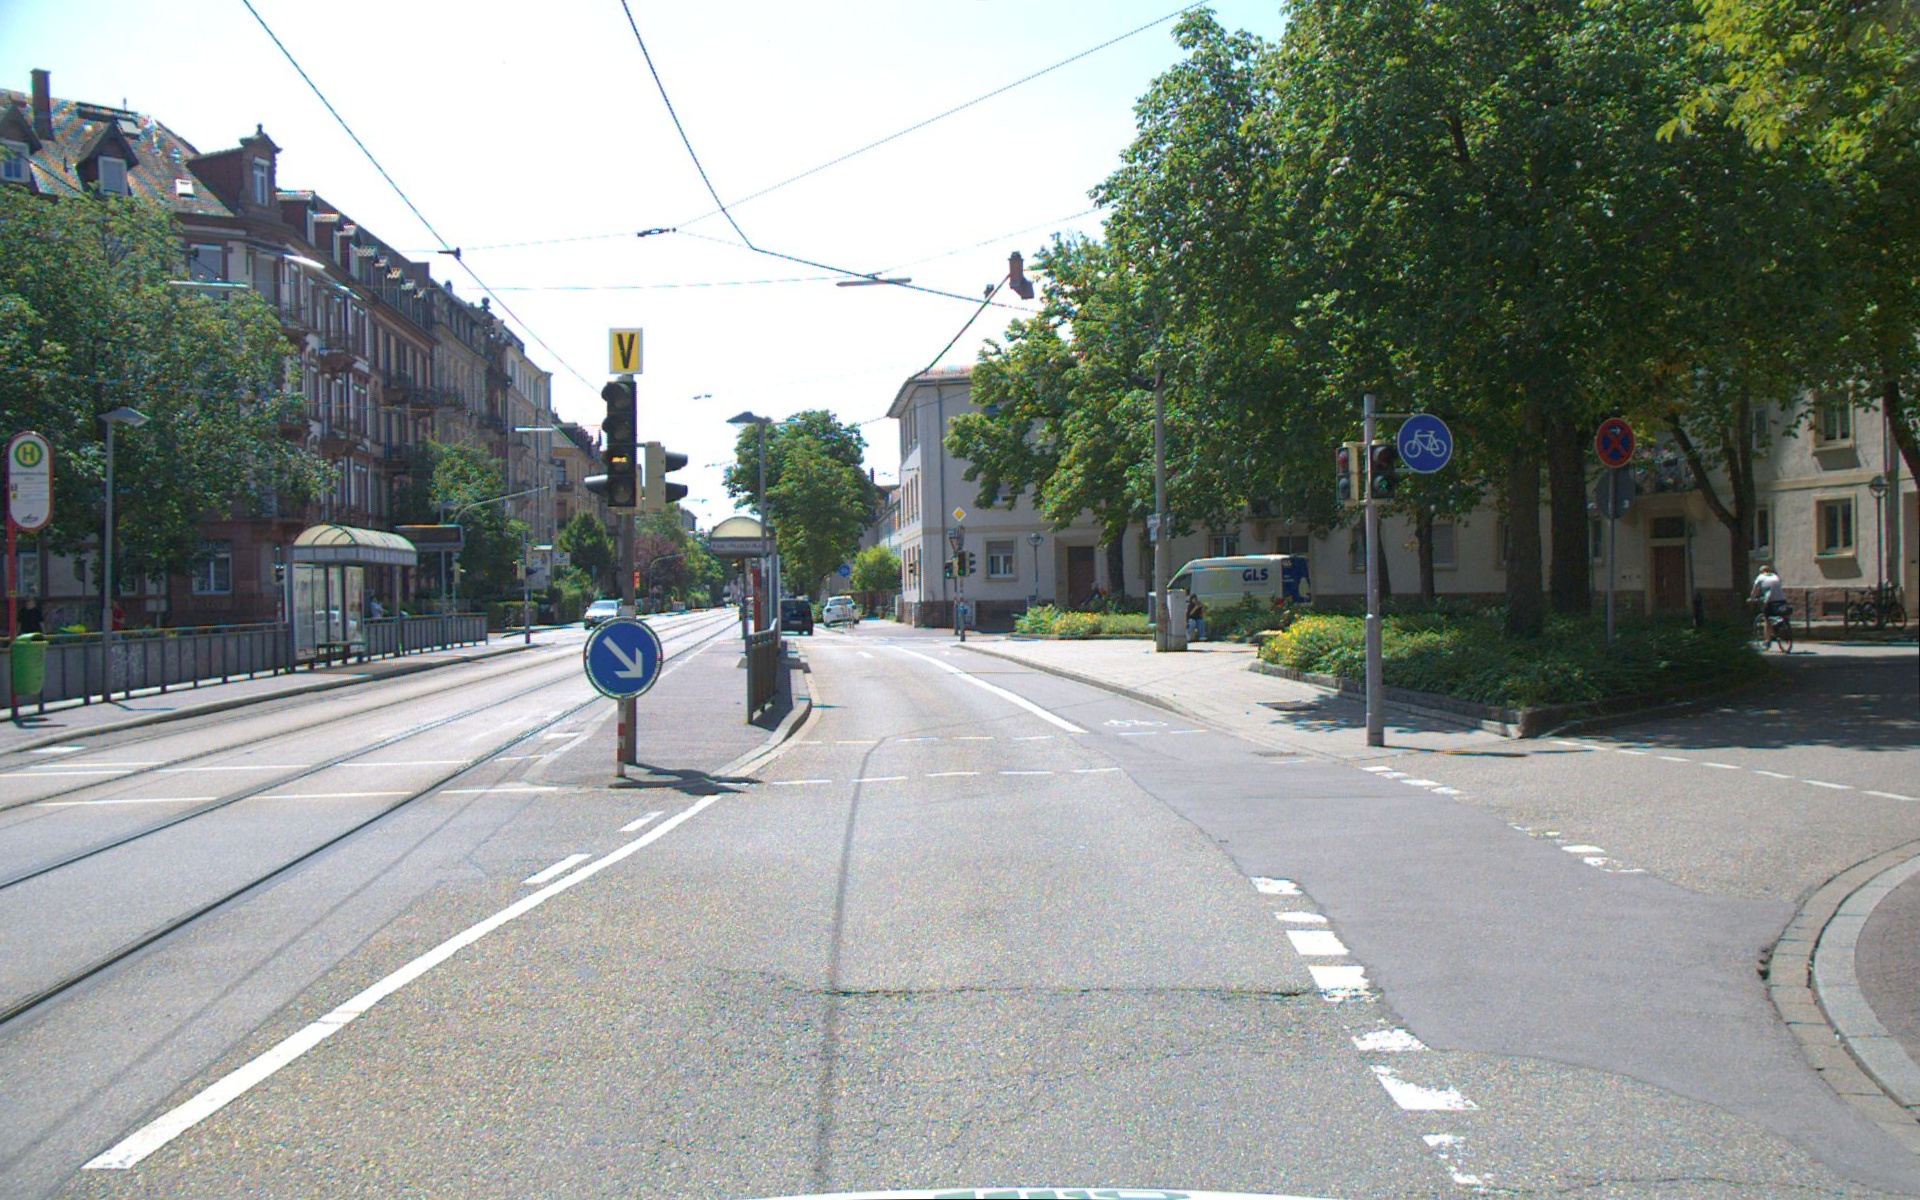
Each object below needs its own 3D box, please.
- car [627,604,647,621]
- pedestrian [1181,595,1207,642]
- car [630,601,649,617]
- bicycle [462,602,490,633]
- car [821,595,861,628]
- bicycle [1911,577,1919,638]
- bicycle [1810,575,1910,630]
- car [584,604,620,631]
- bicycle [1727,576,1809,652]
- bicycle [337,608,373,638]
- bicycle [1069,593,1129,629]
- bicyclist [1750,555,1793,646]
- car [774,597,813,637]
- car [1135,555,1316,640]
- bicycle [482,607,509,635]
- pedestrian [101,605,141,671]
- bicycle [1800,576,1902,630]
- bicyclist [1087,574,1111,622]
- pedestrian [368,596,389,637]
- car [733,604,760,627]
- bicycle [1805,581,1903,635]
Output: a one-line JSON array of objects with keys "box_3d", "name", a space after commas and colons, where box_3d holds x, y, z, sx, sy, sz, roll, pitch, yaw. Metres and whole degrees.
[{"box_3d": [-31.136, 1.227, 159.611, 1.654, 1.498, 3.930, -5, 0, -9], "name": "car"}, {"box_3d": [5.728, 0.443, 40.497, 0.499, 1.111, 0.478, -3, 1, -1], "name": "pedestrian"}, {"box_3d": [-32.493, 0.892, 167.705, 1.599, 1.498, 3.556, -5, 0, -9], "name": "car"}, {"box_3d": [-22.800, 0.839, 77.900, 0.609, 1.420, 2.281, -1, 0, -33], "name": "bicycle"}, {"box_3d": [-6.058, 0.557, 83.787, 1.715, 1.498, 3.932, -5, 0, -7], "name": "car"}, {"box_3d": [22.099, 0.148, 36.275, 2.106, 1.323, 0.547, -1, 0, 5], "name": "bicycle"}, {"box_3d": [22.976, 0.071, 42.242, 2.189, 1.371, 0.515, -1, 0, 5], "name": "bicycle"}, {"box_3d": [-18.447, 0.903, 85.302, 1.512, 1.362, 3.712, -1, 0, -8], "name": "car"}, {"box_3d": [16.535, 0.280, 33.905, 0.579, 1.511, 2.167, -1, 0, -1], "name": "bicycle"}, {"box_3d": [-25.184, 0.944, 68.880, 0.357, 1.190, 1.516, 0, 1, 30], "name": "bicycle"}, {"box_3d": [4.872, 0.387, 58.058, 2.040, 1.258, 0.580, -1, 0, 27], "name": "bicycle"}, {"box_3d": [16.502, 0.018, 33.633, 0.589, 1.831, 0.534, -1, 0, -1], "name": "bicyclist"}, {"box_3d": [-6.761, 0.678, 67.057, 1.496, 1.469, 3.360, -3, 0, -6], "name": "car"}, {"box_3d": [8.630, -0.065, 54.144, 5.750, 2.635, 1.987, -1, 0, 44], "name": "car"}, {"box_3d": [-23.389, 1.031, 83.287, 0.586, 1.380, 2.412, -1, 0, -33], "name": "bicycle"}, {"box_3d": [-21.037, 0.944, 41.475, 0.667, 1.633, 0.771, -1, 0, -10], "name": "pedestrian"}, {"box_3d": [23.049, 0.073, 42.805, 2.272, 1.368, 0.515, -1, 0, 5], "name": "bicycle"}, {"box_3d": [4.876, -0.064, 58.051, 0.680, 1.675, 0.580, -1, 0, 27], "name": "bicyclist"}, {"box_3d": [-23.458, 0.667, 66.734, 0.461, 1.643, 0.650, 3, 2, 41], "name": "pedestrian"}, {"box_3d": [-14.717, 1.071, 113.935, 1.498, 1.481, 3.355, -3, 0, -12], "name": "car"}, {"box_3d": [22.550, 0.205, 41.735, 2.106, 1.323, 0.547, -1, 0, 5], "name": "bicycle"}]
